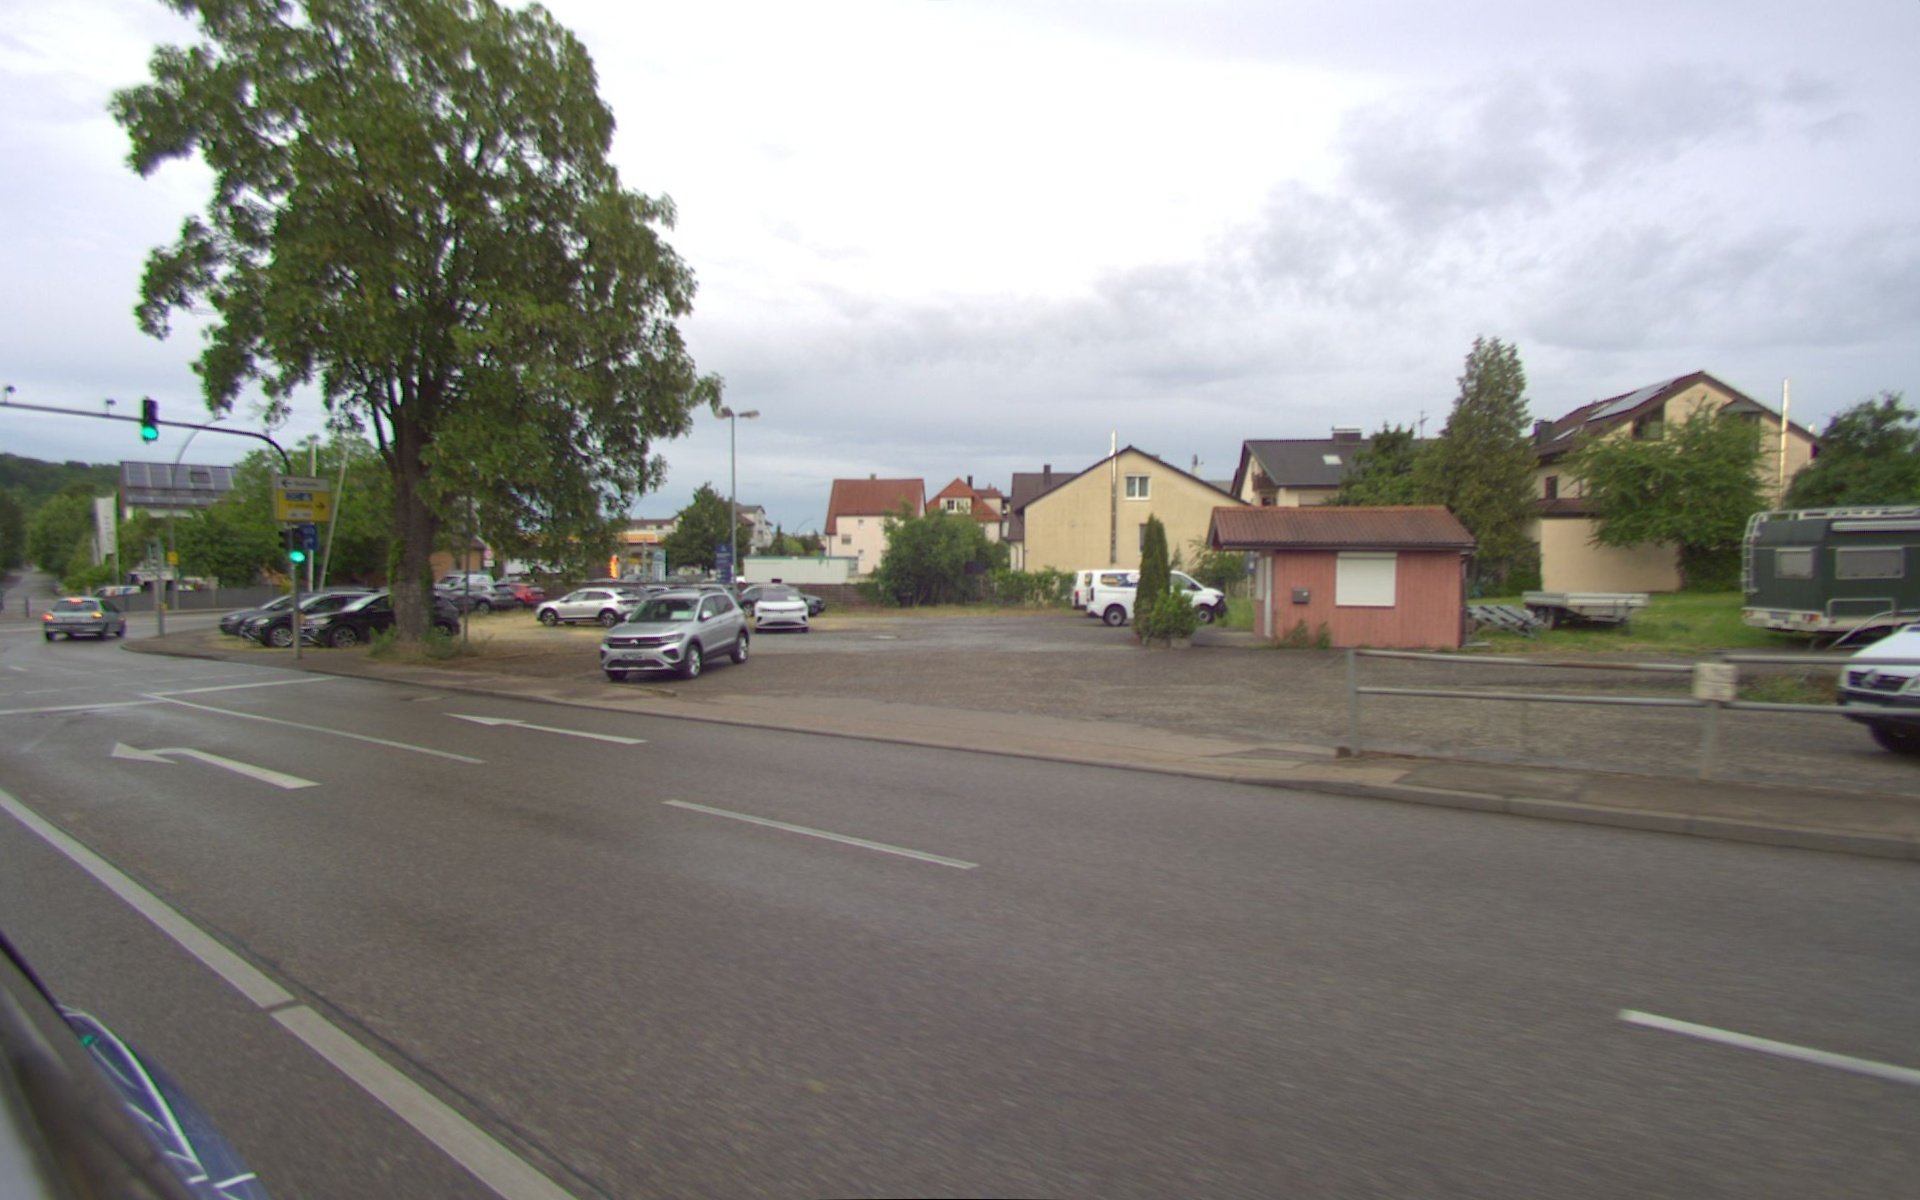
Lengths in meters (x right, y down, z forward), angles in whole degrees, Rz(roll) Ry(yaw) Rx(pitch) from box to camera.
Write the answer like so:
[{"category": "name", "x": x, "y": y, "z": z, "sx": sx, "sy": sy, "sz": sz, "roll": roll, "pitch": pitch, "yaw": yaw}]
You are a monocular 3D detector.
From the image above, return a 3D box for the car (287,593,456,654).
[{"category": "car", "x": -16.689, "y": 0.625, "z": 28.839, "sx": 1.672, "sy": 1.579, "sz": 3.843, "roll": -1, "pitch": 1, "yaw": 42}]

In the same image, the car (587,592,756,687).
[{"category": "car", "x": -5.661, "y": 0.711, "z": 20.378, "sx": 1.701, "sy": 1.581, "sz": 3.998, "roll": -2, "pitch": 2, "yaw": 9}]

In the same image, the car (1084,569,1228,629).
[{"category": "car", "x": 6.920, "y": -0.040, "z": 36.133, "sx": 4.810, "sy": 2.002, "sz": 1.959, "roll": -1, "pitch": 0, "yaw": 5}]

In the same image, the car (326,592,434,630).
[{"category": "car", "x": -24.919, "y": 0.458, "z": 43.538, "sx": 3.720, "sy": 1.562, "sz": 1.594, "roll": -1, "pitch": 1, "yaw": -1}]

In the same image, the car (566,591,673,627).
[{"category": "car", "x": -14.595, "y": 0.381, "z": 43.502, "sx": 3.996, "sy": 1.463, "sz": 1.787, "roll": -1, "pitch": 1, "yaw": 8}]

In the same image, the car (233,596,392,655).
[{"category": "car", "x": -19.223, "y": 0.715, "z": 30.129, "sx": 1.673, "sy": 1.579, "sz": 3.715, "roll": 0, "pitch": 1, "yaw": 45}]

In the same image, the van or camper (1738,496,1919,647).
[{"category": "van or camper", "x": 21.559, "y": -0.781, "z": 21.372, "sx": 8.015, "sy": 2.915, "sz": 2.475, "roll": -3, "pitch": 4, "yaw": 5}]

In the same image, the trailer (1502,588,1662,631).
[{"category": "trailer", "x": 16.474, "y": 0.214, "z": 27.144, "sx": 2.079, "sy": 1.036, "sz": 4.855, "roll": -1, "pitch": 0, "yaw": 11}]

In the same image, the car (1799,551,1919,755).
[{"category": "car", "x": 11.078, "y": 0.434, "z": 9.615, "sx": 4.239, "sy": 1.885, "sz": 2.056, "roll": -1, "pitch": 0, "yaw": 13}]

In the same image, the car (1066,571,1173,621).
[{"category": "car", "x": 6.639, "y": -0.154, "z": 42.497, "sx": 4.217, "sy": 2.002, "sz": 1.723, "roll": -1, "pitch": 0, "yaw": 3}]

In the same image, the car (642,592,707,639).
[{"category": "car", "x": -9.970, "y": 0.500, "z": 35.598, "sx": 1.762, "sy": 1.521, "sz": 4.052, "roll": -1, "pitch": 1, "yaw": -10}]

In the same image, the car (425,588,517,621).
[{"category": "car", "x": -23.932, "y": 0.209, "z": 49.634, "sx": 3.720, "sy": 1.562, "sz": 1.594, "roll": -1, "pitch": 1, "yaw": -1}]

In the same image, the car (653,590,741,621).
[{"category": "car", "x": -13.353, "y": 0.262, "z": 51.489, "sx": 3.996, "sy": 1.463, "sz": 1.787, "roll": -1, "pitch": 1, "yaw": 8}]

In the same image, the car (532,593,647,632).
[{"category": "car", "x": -14.877, "y": 0.503, "z": 40.737, "sx": 3.996, "sy": 1.463, "sz": 1.787, "roll": -1, "pitch": 1, "yaw": 8}]

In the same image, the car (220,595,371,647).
[{"category": "car", "x": -22.024, "y": 0.652, "z": 33.640, "sx": 4.091, "sy": 1.521, "sz": 1.676, "roll": -1, "pitch": 2, "yaw": -35}]

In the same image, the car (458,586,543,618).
[{"category": "car", "x": -23.848, "y": 0.075, "z": 52.622, "sx": 3.720, "sy": 1.562, "sz": 1.594, "roll": -1, "pitch": 1, "yaw": -1}]

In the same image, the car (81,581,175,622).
[{"category": "car", "x": -47.725, "y": 0.061, "z": 58.079, "sx": 4.335, "sy": 2.120, "sz": 1.766, "roll": 2, "pitch": 2, "yaw": 9}]

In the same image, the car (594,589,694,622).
[{"category": "car", "x": -14.415, "y": 0.245, "z": 46.316, "sx": 3.996, "sy": 1.463, "sz": 1.787, "roll": -1, "pitch": 1, "yaw": 8}]

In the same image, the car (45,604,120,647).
[{"category": "car", "x": -30.577, "y": 0.860, "z": 35.357, "sx": 1.623, "sy": 1.391, "sz": 3.712, "roll": 0, "pitch": 0, "yaw": -35}]

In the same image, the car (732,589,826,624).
[{"category": "car", "x": -8.557, "y": 0.292, "z": 48.016, "sx": 4.001, "sy": 1.566, "sz": 1.784, "roll": -1, "pitch": 1, "yaw": 12}]

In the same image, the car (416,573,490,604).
[{"category": "car", "x": -35.698, "y": -0.762, "z": 71.440, "sx": 2.030, "sy": 2.102, "sz": 5.242, "roll": -1, "pitch": 0, "yaw": 8}]

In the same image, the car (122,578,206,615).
[{"category": "car", "x": -49.969, "y": -0.258, "z": 63.583, "sx": 4.174, "sy": 2.120, "sz": 1.766, "roll": 2, "pitch": 2, "yaw": 8}]

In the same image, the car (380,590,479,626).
[{"category": "car", "x": -24.318, "y": 0.362, "z": 46.458, "sx": 3.720, "sy": 1.562, "sz": 1.594, "roll": -1, "pitch": 1, "yaw": -1}]

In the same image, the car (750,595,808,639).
[{"category": "car", "x": -6.502, "y": 0.565, "z": 36.073, "sx": 1.799, "sy": 1.426, "sz": 4.020, "roll": -1, "pitch": 0, "yaw": -13}]
